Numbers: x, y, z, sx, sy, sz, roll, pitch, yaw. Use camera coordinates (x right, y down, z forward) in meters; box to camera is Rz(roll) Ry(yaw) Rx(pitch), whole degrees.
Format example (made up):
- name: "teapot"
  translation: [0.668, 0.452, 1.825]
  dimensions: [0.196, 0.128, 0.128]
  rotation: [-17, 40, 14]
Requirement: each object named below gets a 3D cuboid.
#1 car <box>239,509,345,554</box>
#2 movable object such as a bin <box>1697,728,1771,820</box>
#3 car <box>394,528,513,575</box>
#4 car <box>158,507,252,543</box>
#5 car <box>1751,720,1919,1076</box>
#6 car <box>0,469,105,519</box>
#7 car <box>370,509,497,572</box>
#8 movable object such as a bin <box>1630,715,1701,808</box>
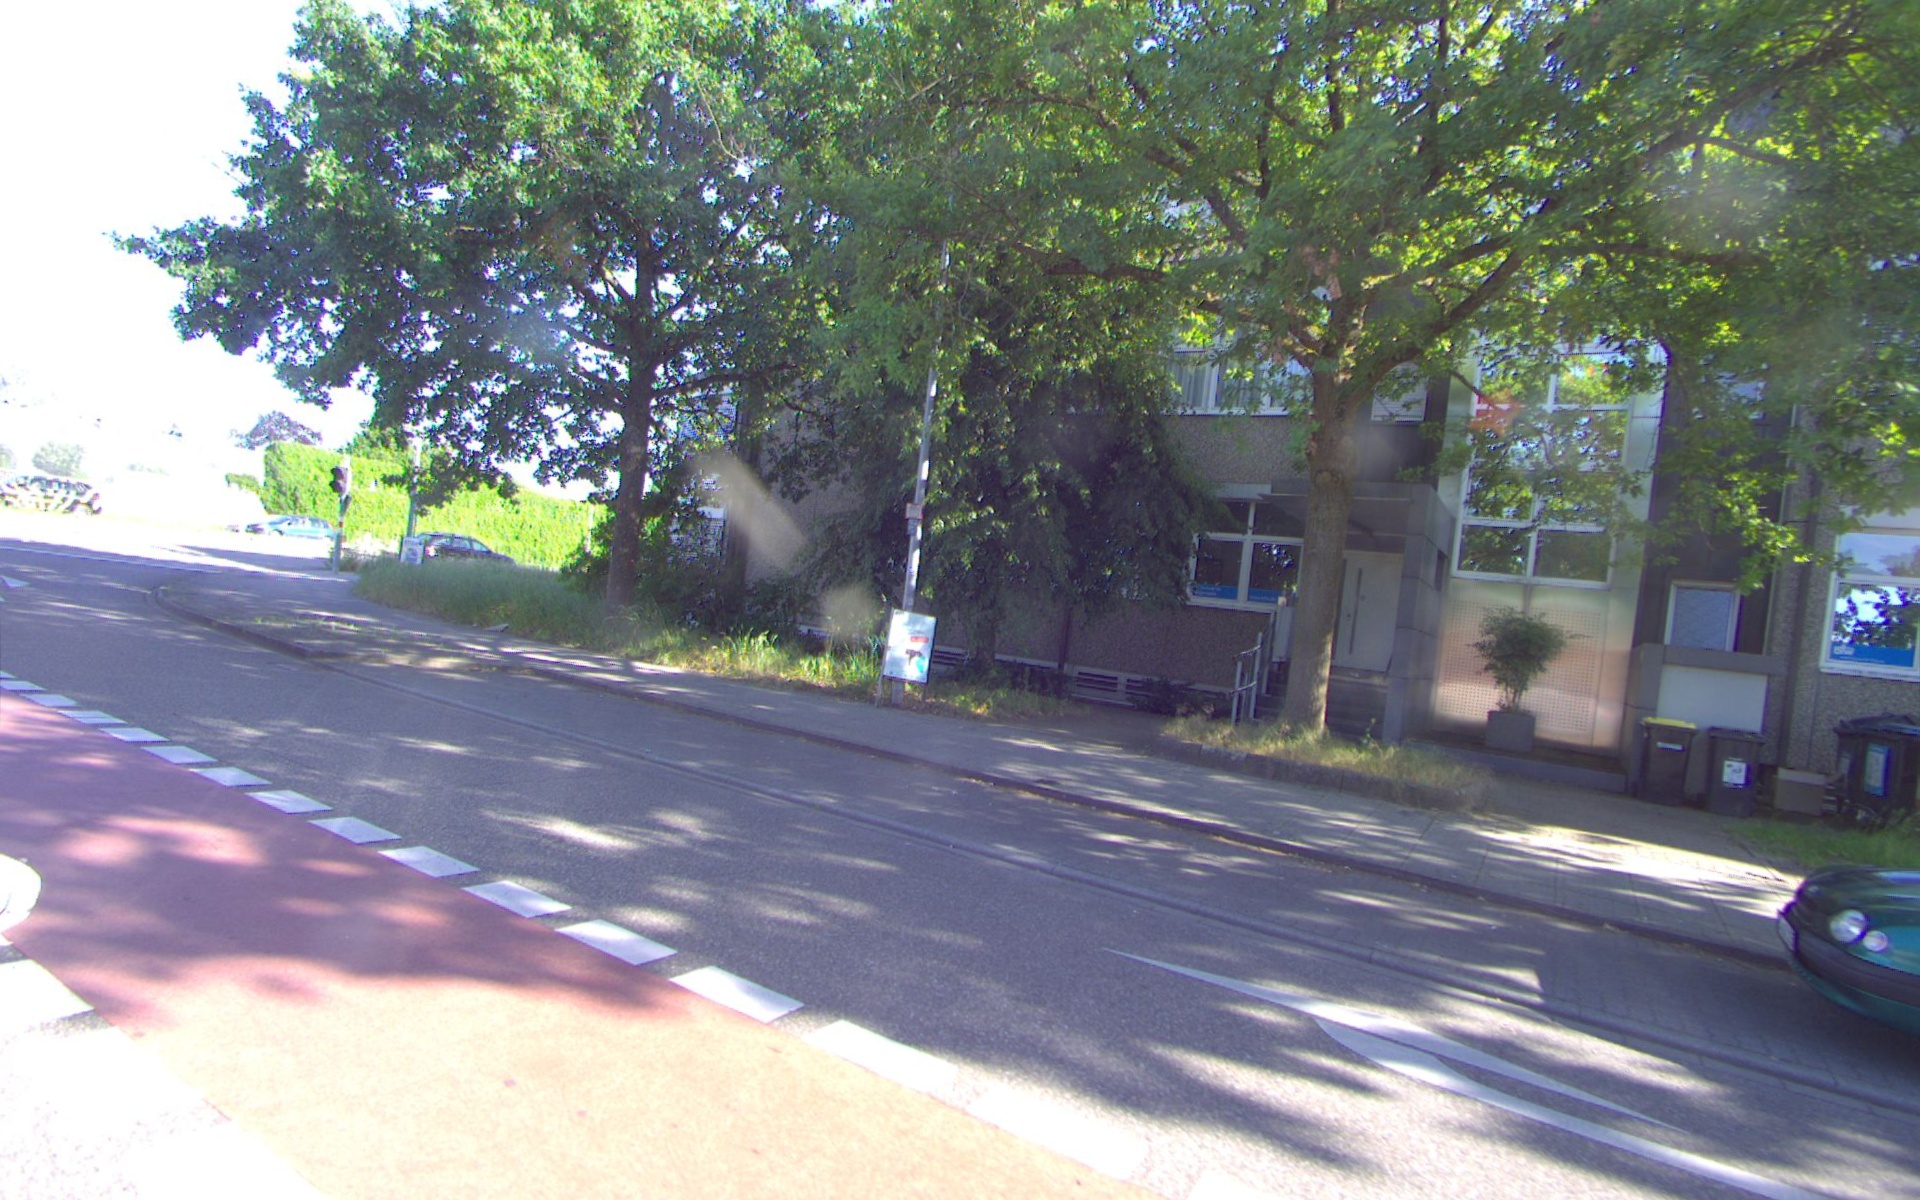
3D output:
- name: "car"
  translation: [-33.208, -3.371, 50.108]
  dimensions: [1.666, 1.570, 4.000]
  rotation: [6, -2, 25]
- name: "movable object such as a bin"
  translation: [9.589, 2.139, 12.482]
  dimensions: [0.566, 1.019, 0.629]
  rotation: [6, -1, 31]
- name: "car"
  translation: [-22.334, -2.099, 44.514]
  dimensions: [1.653, 1.459, 4.470]
  rotation: [8, 0, 28]
- name: "car"
  translation: [-39.078, -3.889, 52.173]
  dimensions: [1.330, 1.280, 3.589]
  rotation: [7, -1, 30]
- name: "car"
  translation: [6.133, 1.592, 4.227]
  dimensions: [4.135, 1.447, 1.593]
  rotation: [6, 1, 33]
- name: "car"
  translation: [-34.995, -4.077, 37.702]
  dimensions: [1.548, 1.317, 4.170]
  rotation: [6, -2, 28]
- name: "car"
  translation: [-15.066, -1.665, 28.973]
  dimensions: [1.433, 1.311, 3.412]
  rotation: [7, -2, 7]
- name: "movable object such as a bin"
  translation: [8.959, 2.034, 12.799]
  dimensions: [0.571, 1.045, 0.713]
  rotation: [7, 0, 31]
